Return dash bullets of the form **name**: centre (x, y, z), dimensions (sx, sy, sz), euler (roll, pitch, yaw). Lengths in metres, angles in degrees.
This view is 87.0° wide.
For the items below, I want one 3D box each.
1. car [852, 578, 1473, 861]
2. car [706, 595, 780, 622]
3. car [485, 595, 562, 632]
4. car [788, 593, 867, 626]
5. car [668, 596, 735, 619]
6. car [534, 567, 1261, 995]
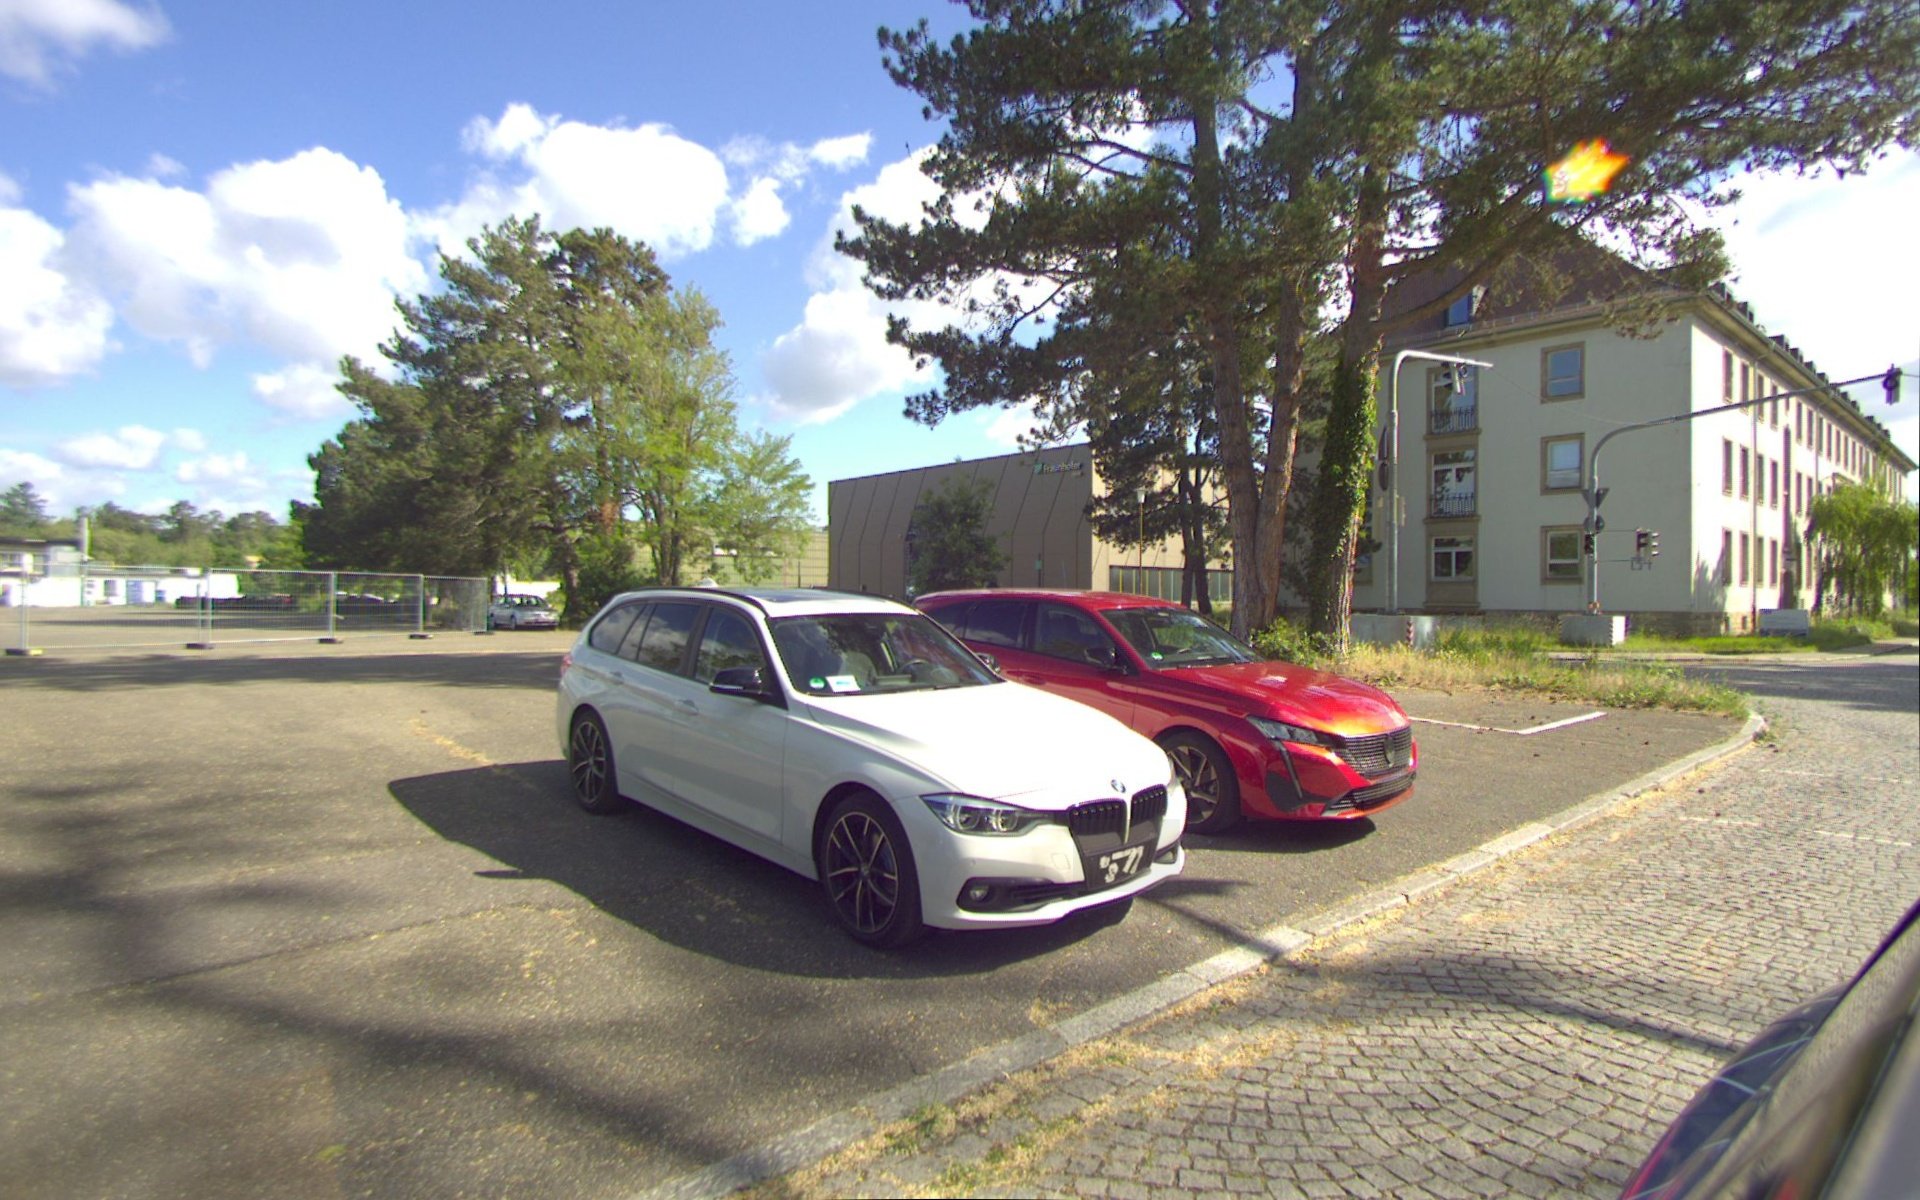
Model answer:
- **car**: centre (1.250, 0.615, 7.902), dimensions (1.862, 1.438, 4.545), euler (0, 3, -42)
- **car**: centre (-13.690, 0.527, 63.948), dimensions (4.153, 1.584, 1.858), euler (0, -3, -42)
- **car**: centre (-17.662, 0.525, 40.843), dimensions (1.715, 1.440, 3.993), euler (2, -1, -41)
- **car**: centre (-7.437, 0.523, 56.863), dimensions (3.989, 1.583, 1.860), euler (-4, 2, -39)
- **car**: centre (-17.906, 0.516, 70.209), dimensions (4.153, 1.584, 1.778), euler (0, -1, -42)
- **car**: centre (-0.737, 0.603, 5.973), dimensions (1.808, 1.482, 4.518), euler (0, 3, -43)
